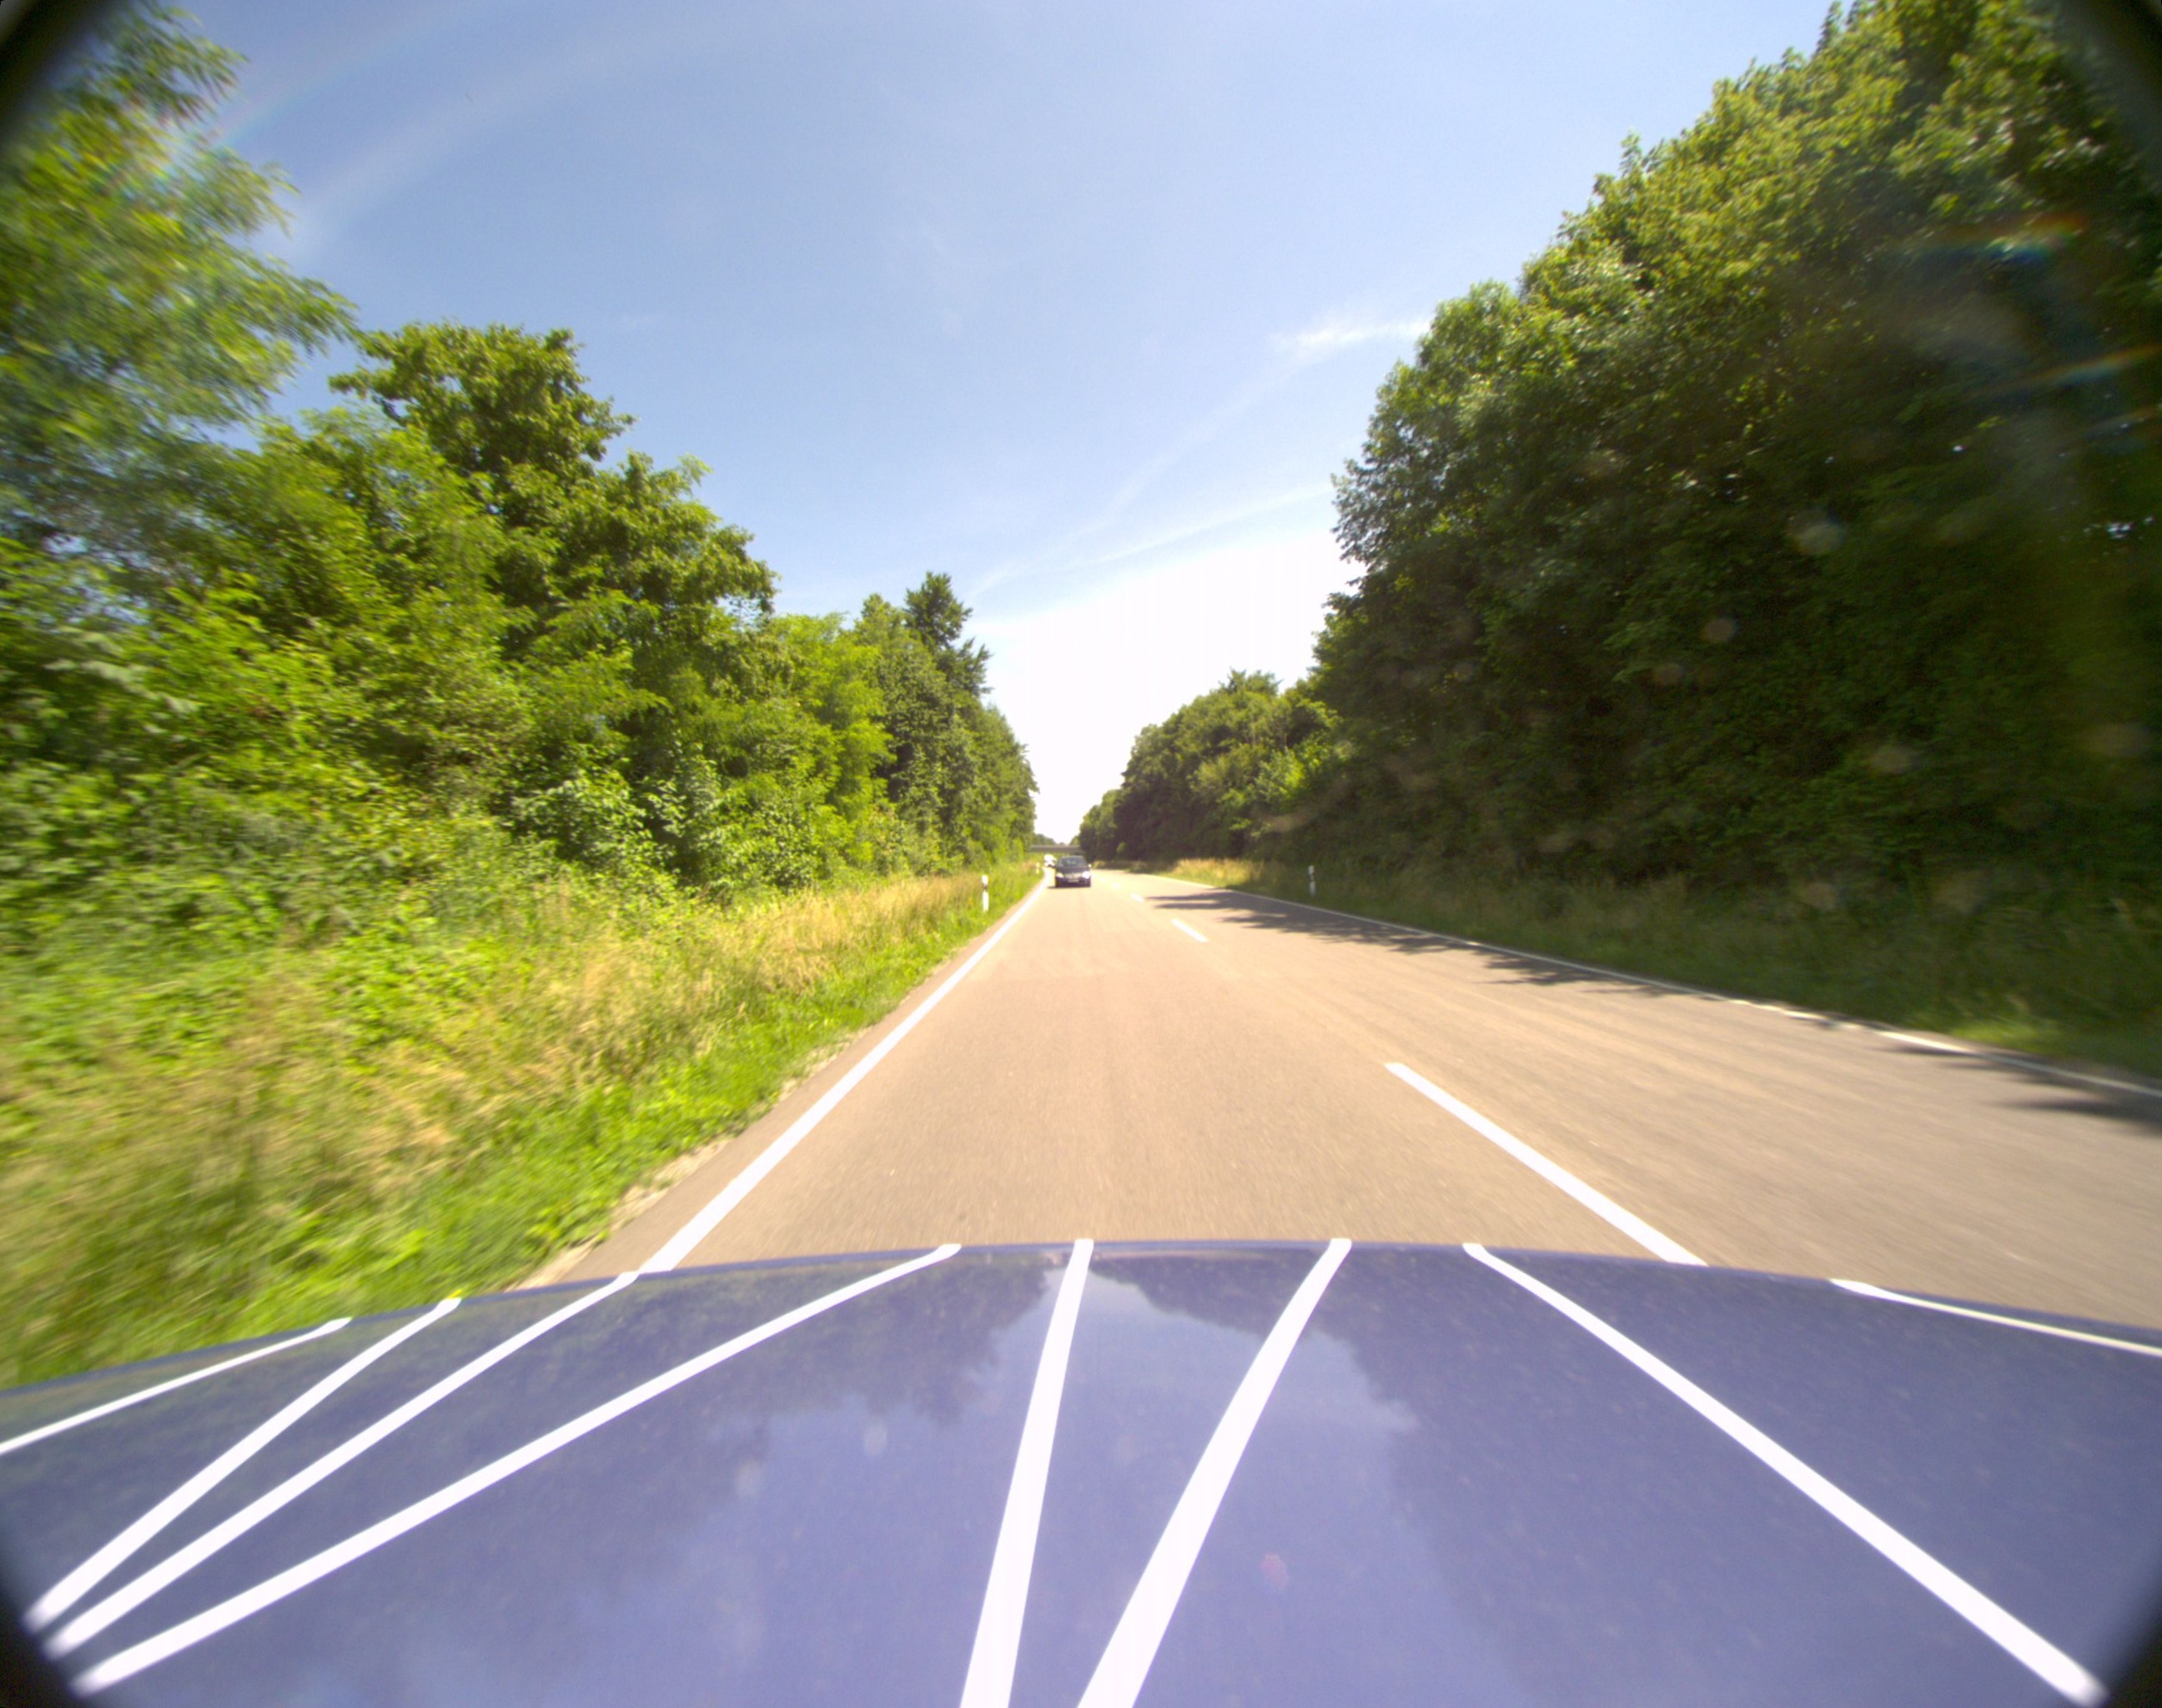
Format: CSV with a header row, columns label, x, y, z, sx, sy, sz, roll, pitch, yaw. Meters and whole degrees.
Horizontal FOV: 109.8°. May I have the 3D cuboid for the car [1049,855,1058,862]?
label,x,y,z,sx,sy,sz,roll,pitch,yaw
car,-5.977,0.961,165.416,1.710,1.524,4.777,-2,0,-2

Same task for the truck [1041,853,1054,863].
label,x,y,z,sx,sy,sz,roll,pitch,yaw
truck,-10.547,1.333,238.953,2.579,3.111,11.189,-2,0,-11

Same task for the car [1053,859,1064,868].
label,x,y,z,sx,sy,sz,roll,pitch,yaw
car,-3.899,1.628,132.183,1.710,1.524,4.777,-2,0,-2

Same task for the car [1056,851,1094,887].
label,x,y,z,sx,sy,sz,roll,pitch,yaw
car,-0.338,0.767,39.271,1.784,1.675,4.779,-3,-1,-1
